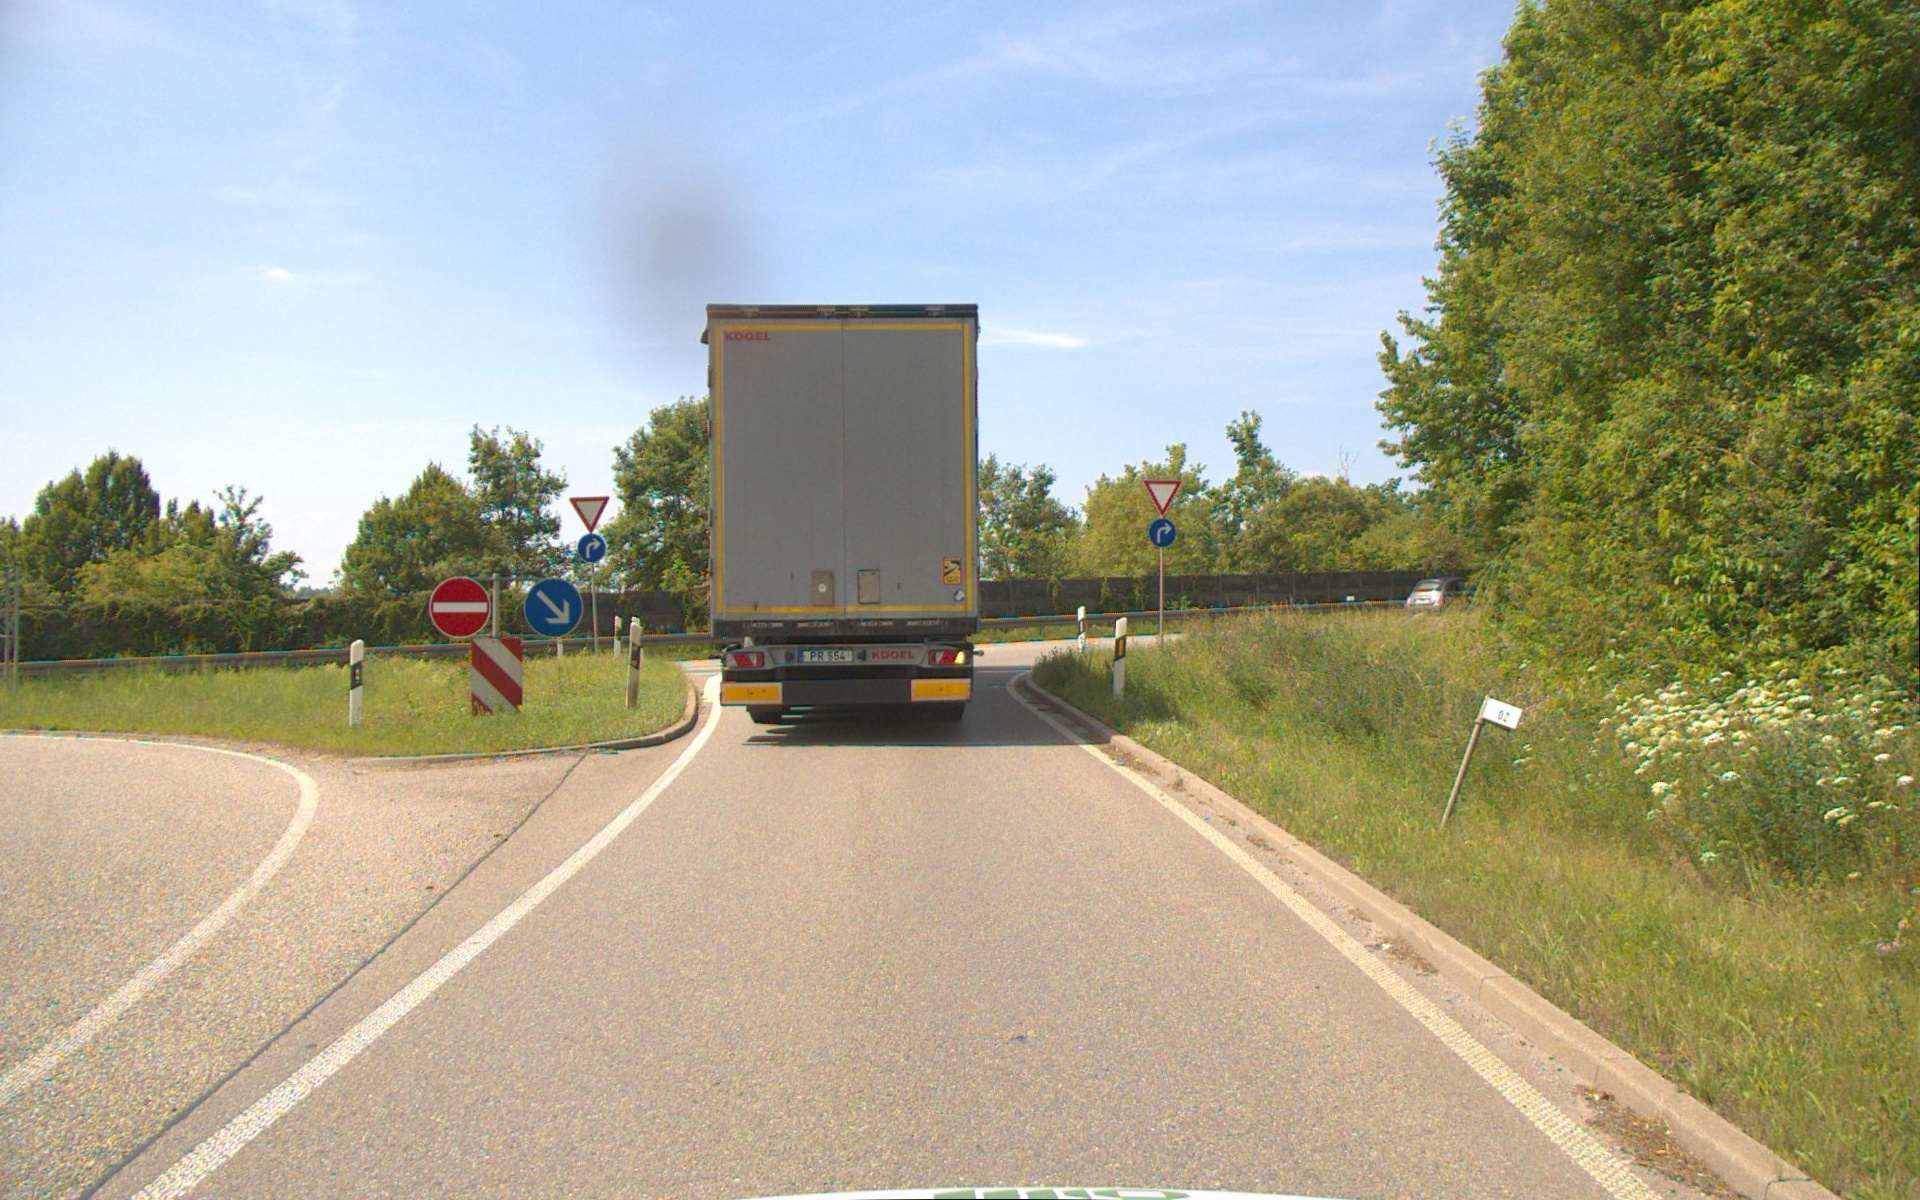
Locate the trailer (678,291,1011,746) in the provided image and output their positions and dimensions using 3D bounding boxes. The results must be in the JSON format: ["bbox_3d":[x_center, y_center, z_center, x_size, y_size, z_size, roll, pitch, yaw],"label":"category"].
[{"bbox_3d":[-1.307,-0.770,21.742,2.966,4.105,13.345,-1,0,-2],"label":"trailer"}]

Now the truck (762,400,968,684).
[{"bbox_3d":[-1.579,-0.880,28.736,3.089,4.298,7.118,-1,0,-2],"label":"truck"}]

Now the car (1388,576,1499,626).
[{"bbox_3d":[15.648,0.030,53.433,3.968,1.512,1.645,-2,0,-43],"label":"car"}]
